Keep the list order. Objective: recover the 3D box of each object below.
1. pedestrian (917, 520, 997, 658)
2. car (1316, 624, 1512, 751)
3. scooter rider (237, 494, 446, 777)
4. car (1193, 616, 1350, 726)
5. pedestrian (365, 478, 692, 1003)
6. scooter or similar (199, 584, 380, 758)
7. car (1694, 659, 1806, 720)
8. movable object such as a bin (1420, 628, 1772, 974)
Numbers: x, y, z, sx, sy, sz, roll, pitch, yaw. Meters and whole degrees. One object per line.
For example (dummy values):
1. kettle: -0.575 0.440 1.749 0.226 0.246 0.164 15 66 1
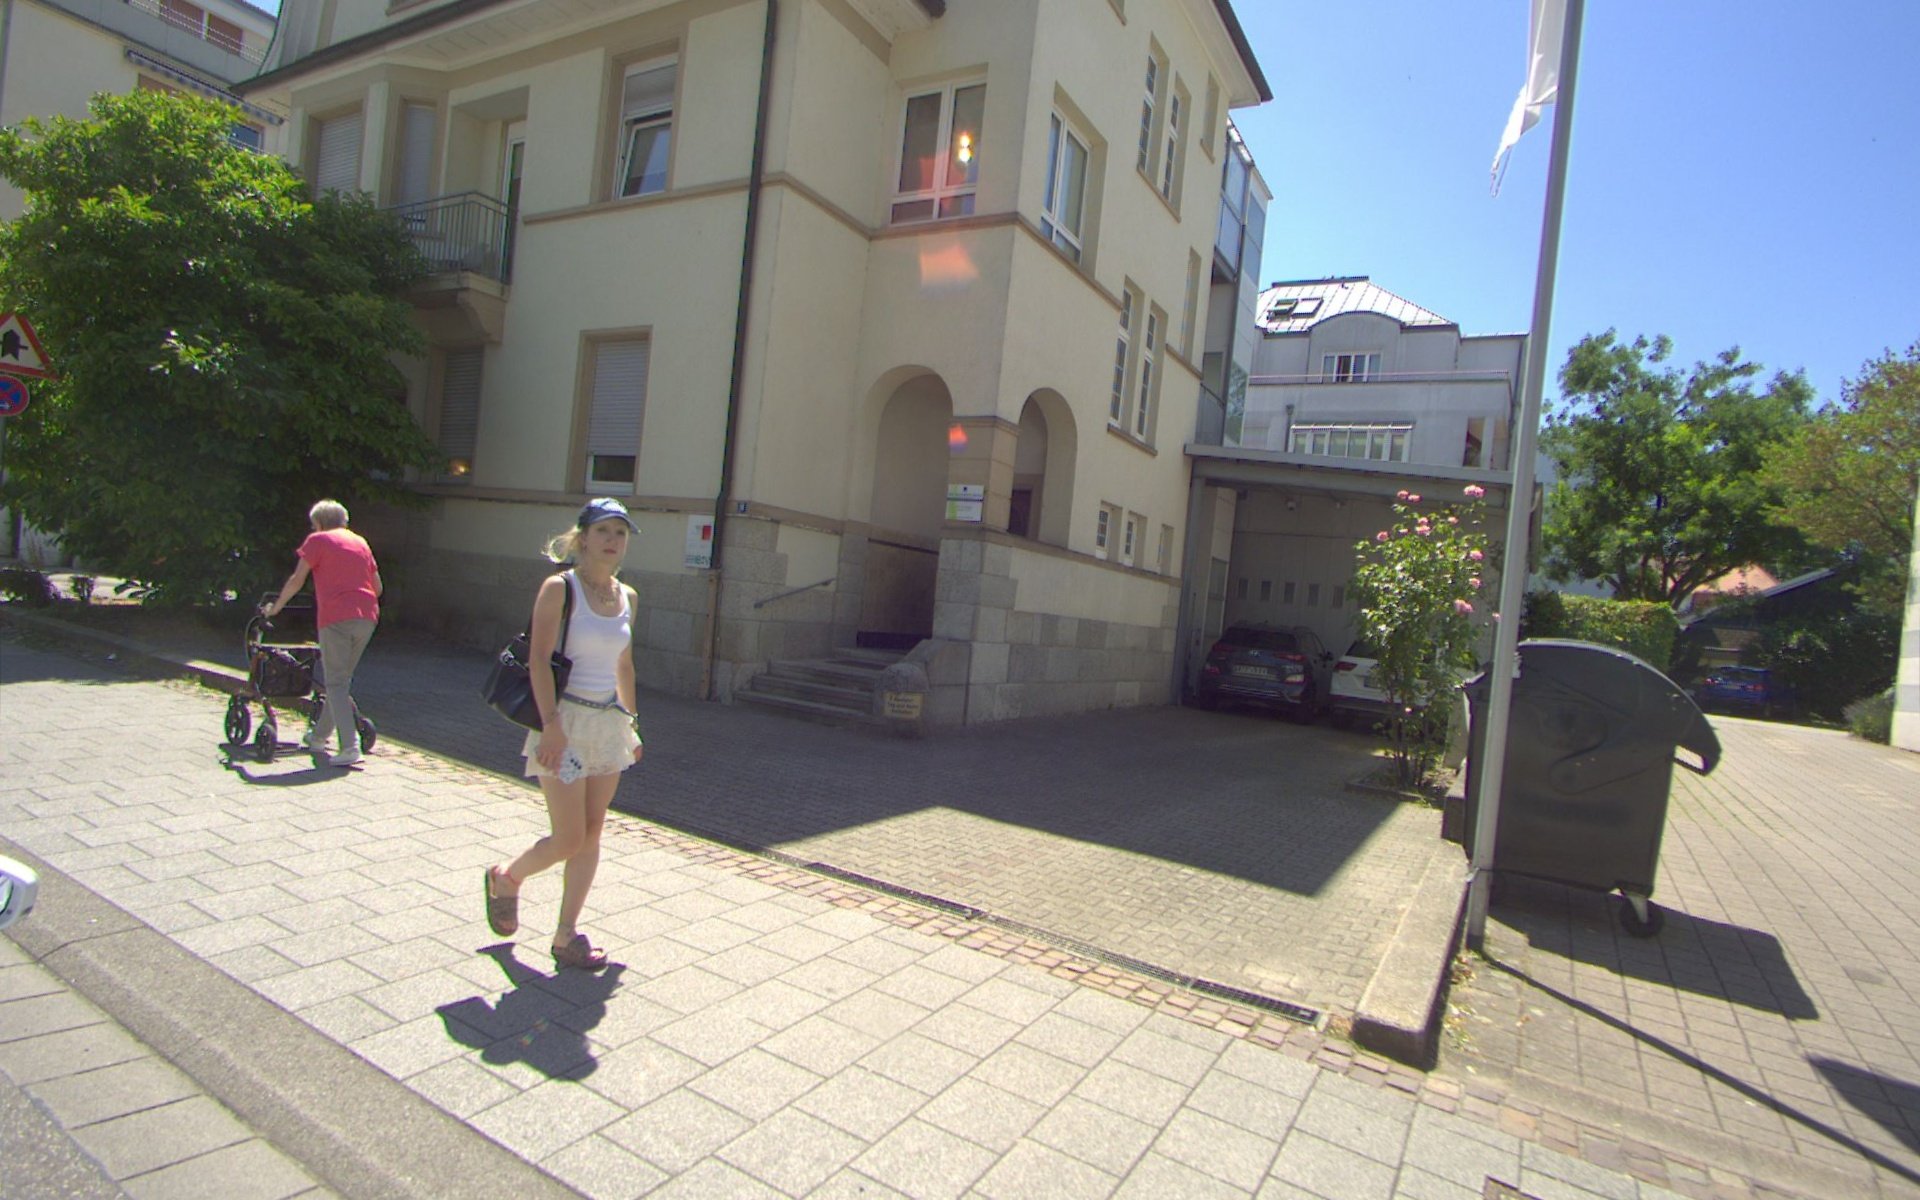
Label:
1. pedestrian: -0.052 -0.146 12.918 0.588 1.679 0.734 6 1 -27
2. car: 7.505 1.382 16.416 1.785 1.628 3.981 7 1 40
3. scooter rider: -3.782 0.201 6.168 0.757 1.569 0.716 7 2 29
4. car: 5.522 1.217 17.537 1.723 1.510 3.738 7 0 30
5. pedestrian: -1.560 0.435 3.662 0.770 1.649 0.700 6 4 30
6. scooter or similar: -4.296 0.435 6.455 0.741 0.975 0.663 7 2 31
7. car: 25.664 2.924 32.660 4.001 1.589 1.784 7 0 -37
8. movable object such as a bin: 3.486 0.972 5.630 1.358 1.479 1.367 6 3 33
